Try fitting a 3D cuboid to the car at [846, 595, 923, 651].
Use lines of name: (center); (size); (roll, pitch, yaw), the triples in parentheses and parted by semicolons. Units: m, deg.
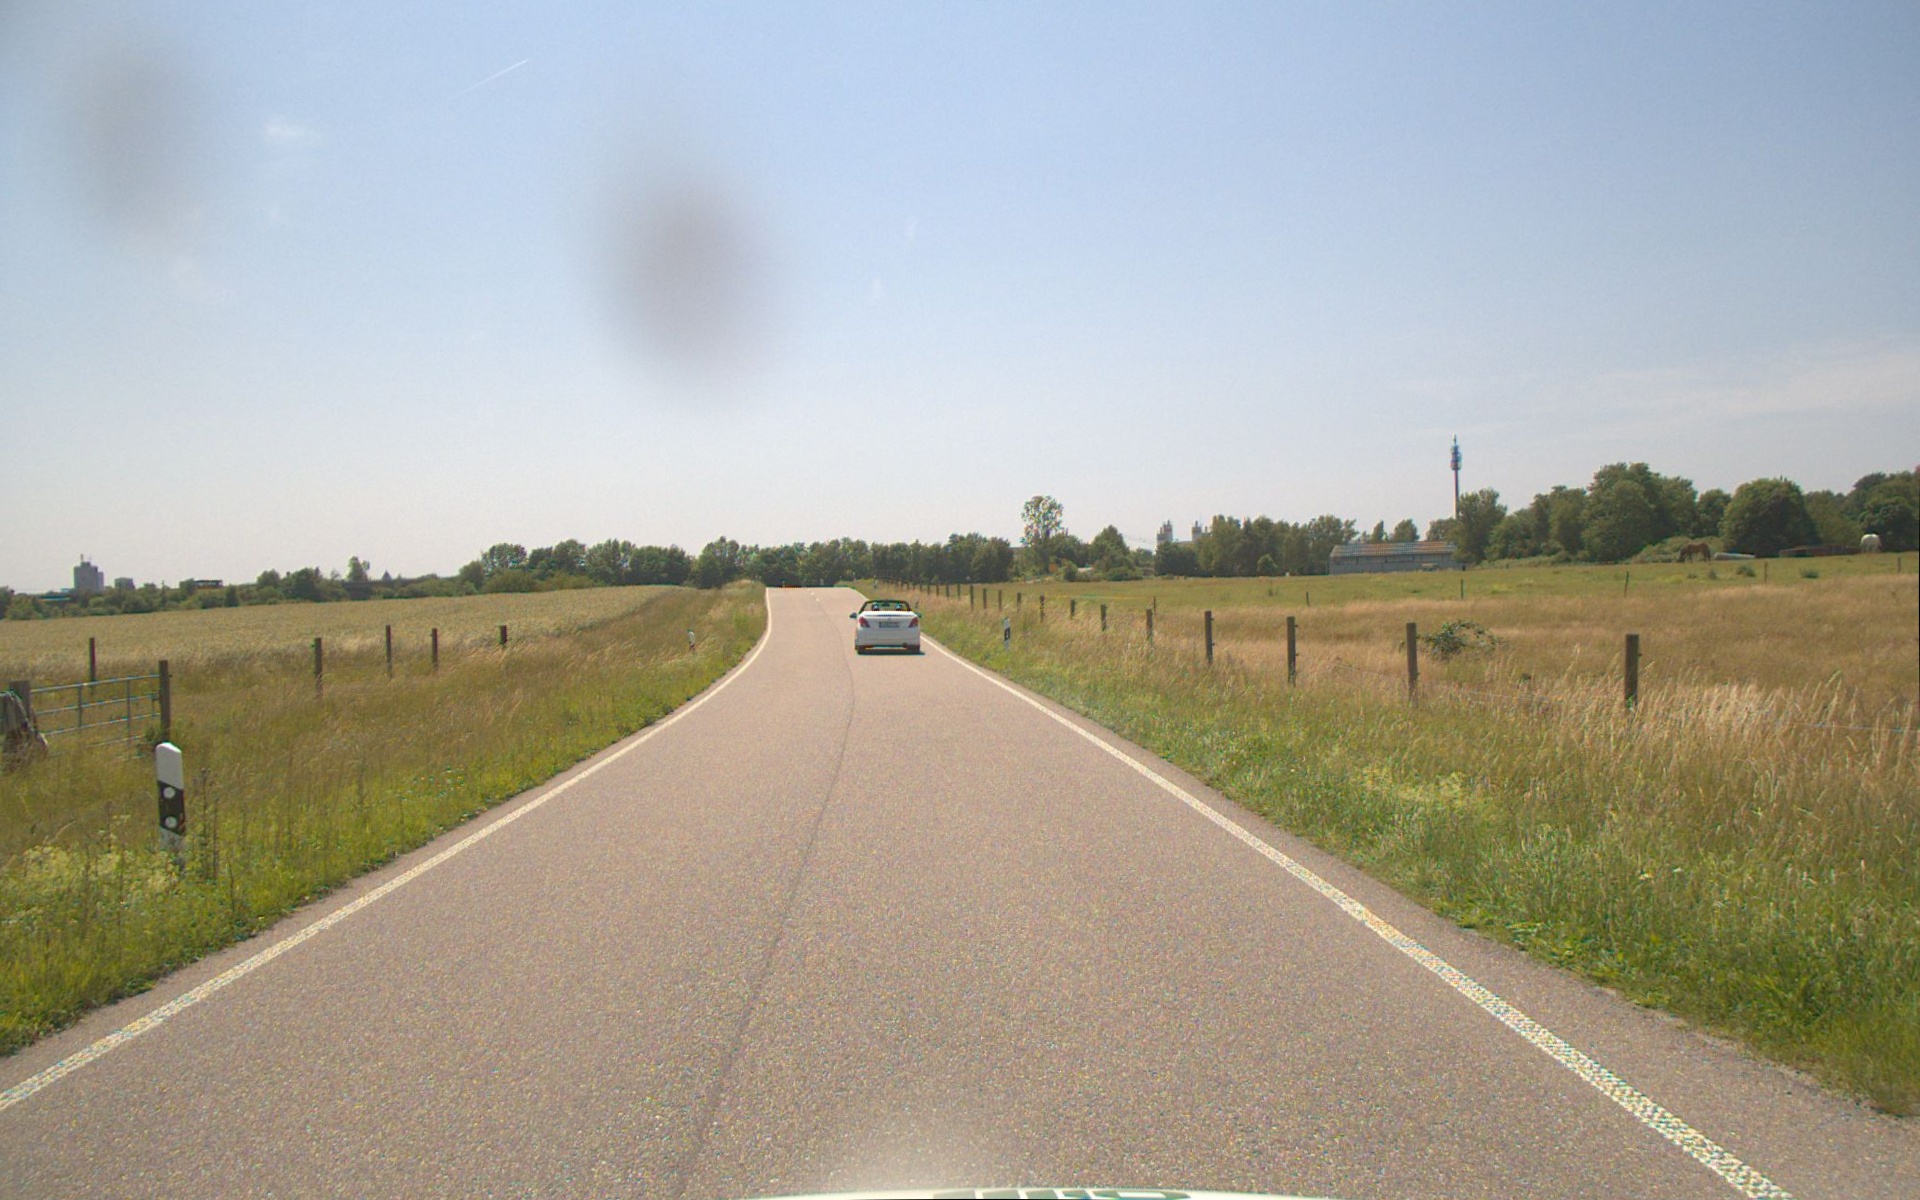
car: (-2.082, 0.593, 44.662); (1.815, 1.403, 3.994); (0, 1, -7)
